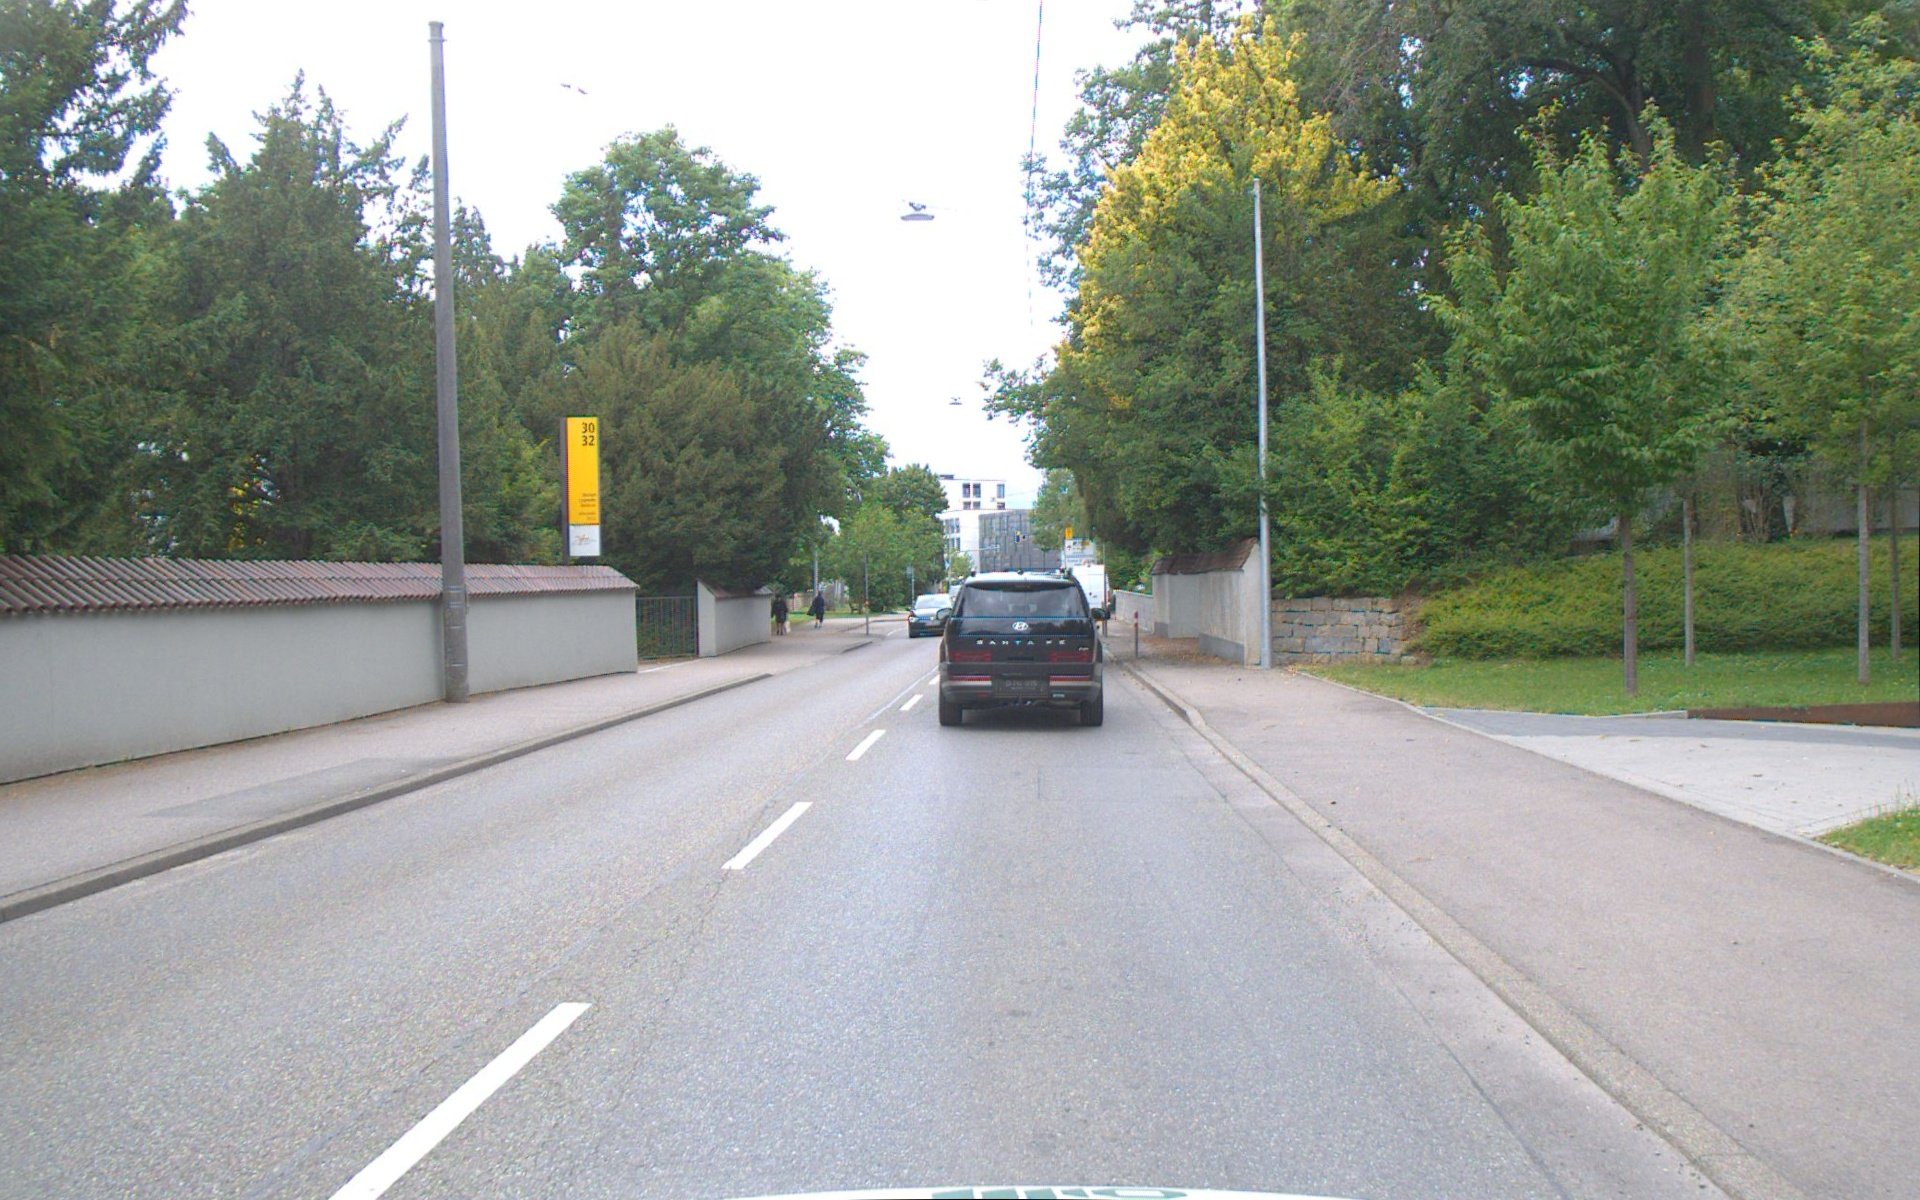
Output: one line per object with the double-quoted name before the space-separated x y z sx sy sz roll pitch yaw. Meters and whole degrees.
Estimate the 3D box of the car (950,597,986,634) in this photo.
"car" 0.480 0.843 94.758 1.852 1.887 5.084 -5 0 1

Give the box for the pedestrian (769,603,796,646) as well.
"pedestrian" -6.728 0.924 62.691 0.907 1.588 0.902 1 -1 -2

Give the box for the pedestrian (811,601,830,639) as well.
"pedestrian" -6.114 0.872 72.573 0.733 1.605 0.967 0 0 2

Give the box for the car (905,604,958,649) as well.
"car" -0.980 0.906 58.591 1.749 1.453 4.000 -3 0 0

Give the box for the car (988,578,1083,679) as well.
"car" 1.629 0.590 36.443 1.923 2.036 4.001 -2 0 2

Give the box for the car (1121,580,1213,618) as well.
"car" 10.100 -0.050 81.010 4.302 1.681 1.831 -2 0 4

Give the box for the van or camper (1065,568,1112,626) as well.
"van or camper" 6.468 -0.170 83.918 1.923 2.673 6.360 -4 0 2

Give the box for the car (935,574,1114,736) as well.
"car" 0.761 0.576 19.765 1.923 1.741 4.001 0 0 2

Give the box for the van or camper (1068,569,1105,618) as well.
"van or camper" 7.847 -0.391 102.710 1.923 2.845 5.288 -3 0 2
